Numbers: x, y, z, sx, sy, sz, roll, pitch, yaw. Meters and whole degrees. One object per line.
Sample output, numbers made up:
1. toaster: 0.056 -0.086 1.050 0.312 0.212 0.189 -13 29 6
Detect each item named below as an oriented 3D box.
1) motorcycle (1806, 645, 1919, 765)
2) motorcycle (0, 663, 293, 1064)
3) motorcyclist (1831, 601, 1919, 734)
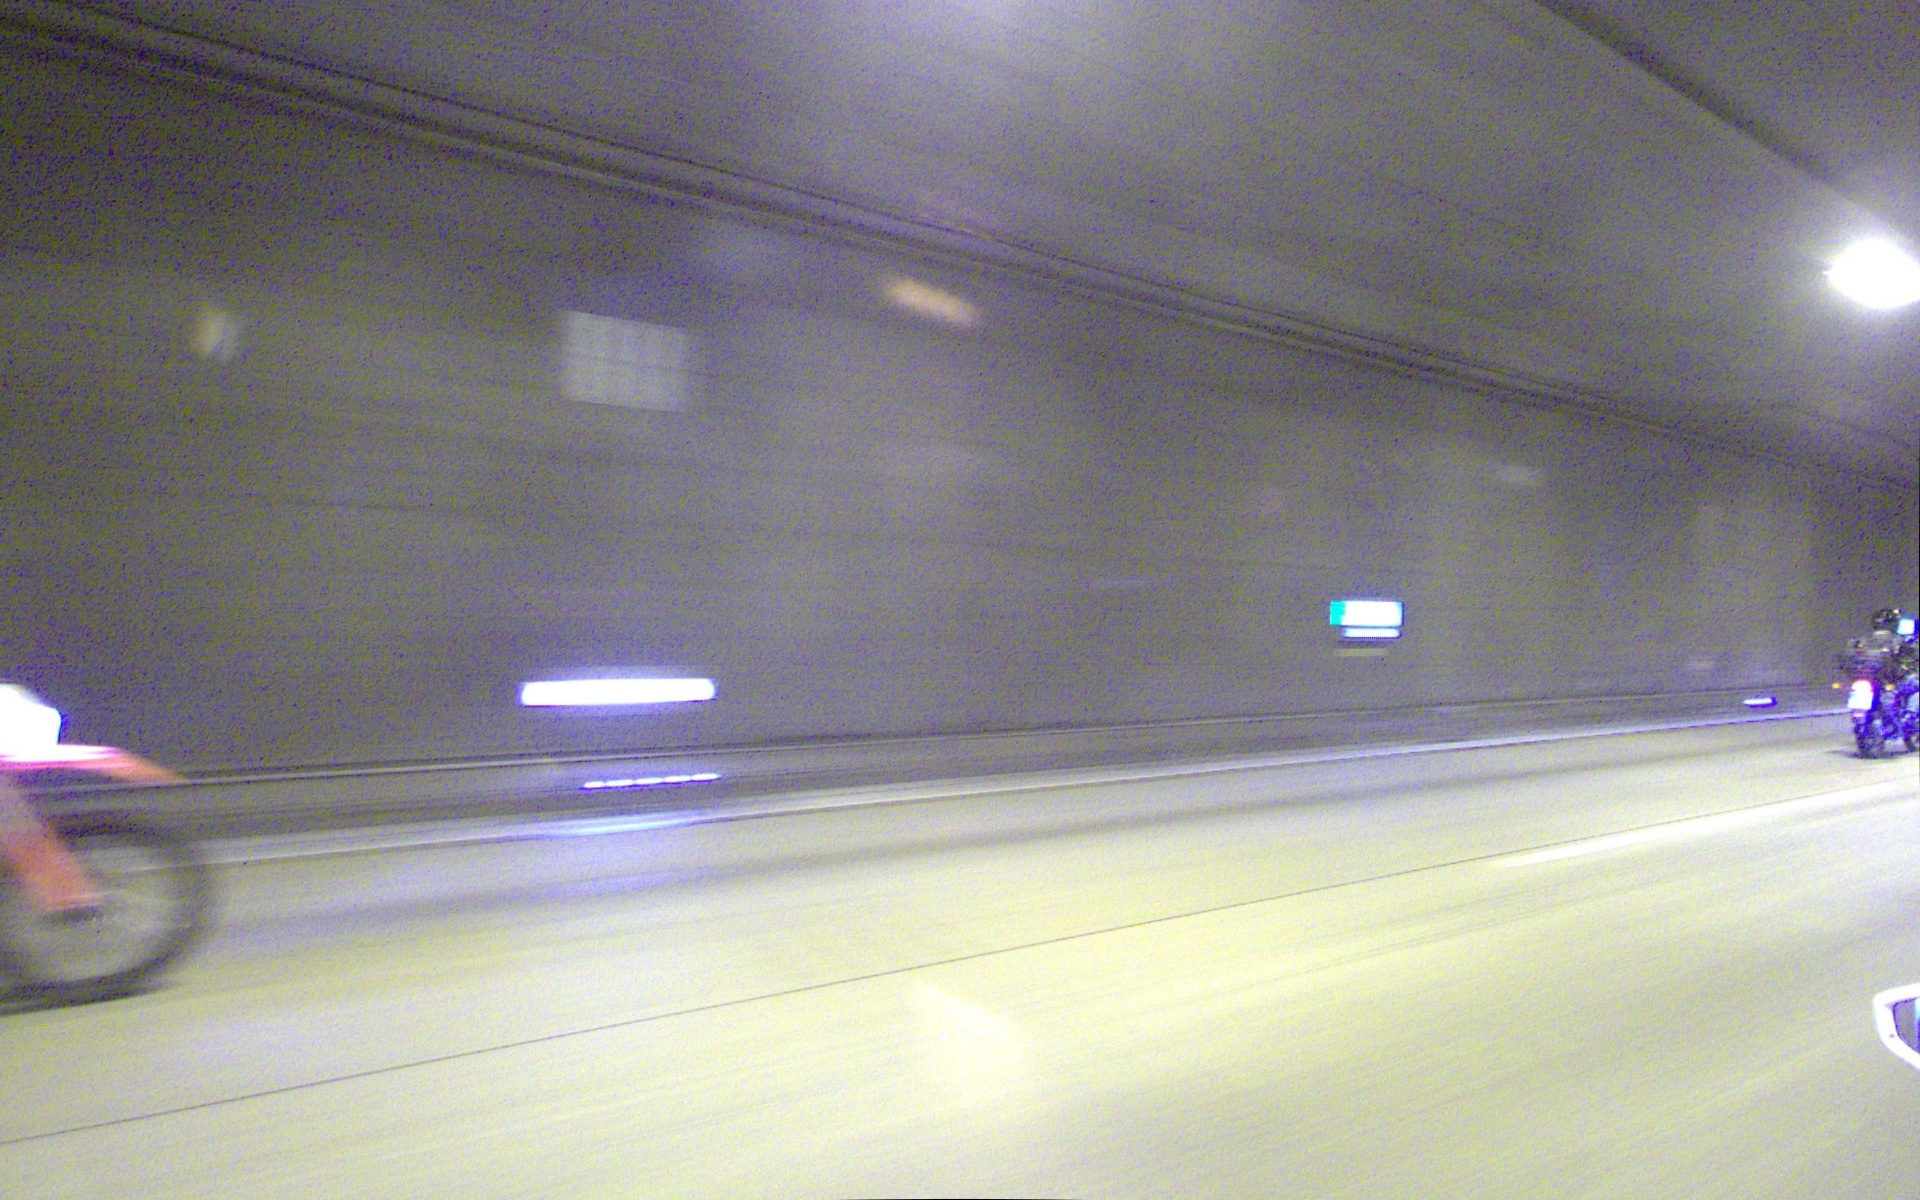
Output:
1. motorcycle: 11.092 1.183 11.891 2.574 1.262 0.841 1 -1 -30
2. motorcycle: -3.706 0.822 3.283 2.396 1.173 1.049 2 -1 -27
3. motorcyclist: 10.949 0.768 11.821 0.811 1.497 0.835 1 -1 -29
